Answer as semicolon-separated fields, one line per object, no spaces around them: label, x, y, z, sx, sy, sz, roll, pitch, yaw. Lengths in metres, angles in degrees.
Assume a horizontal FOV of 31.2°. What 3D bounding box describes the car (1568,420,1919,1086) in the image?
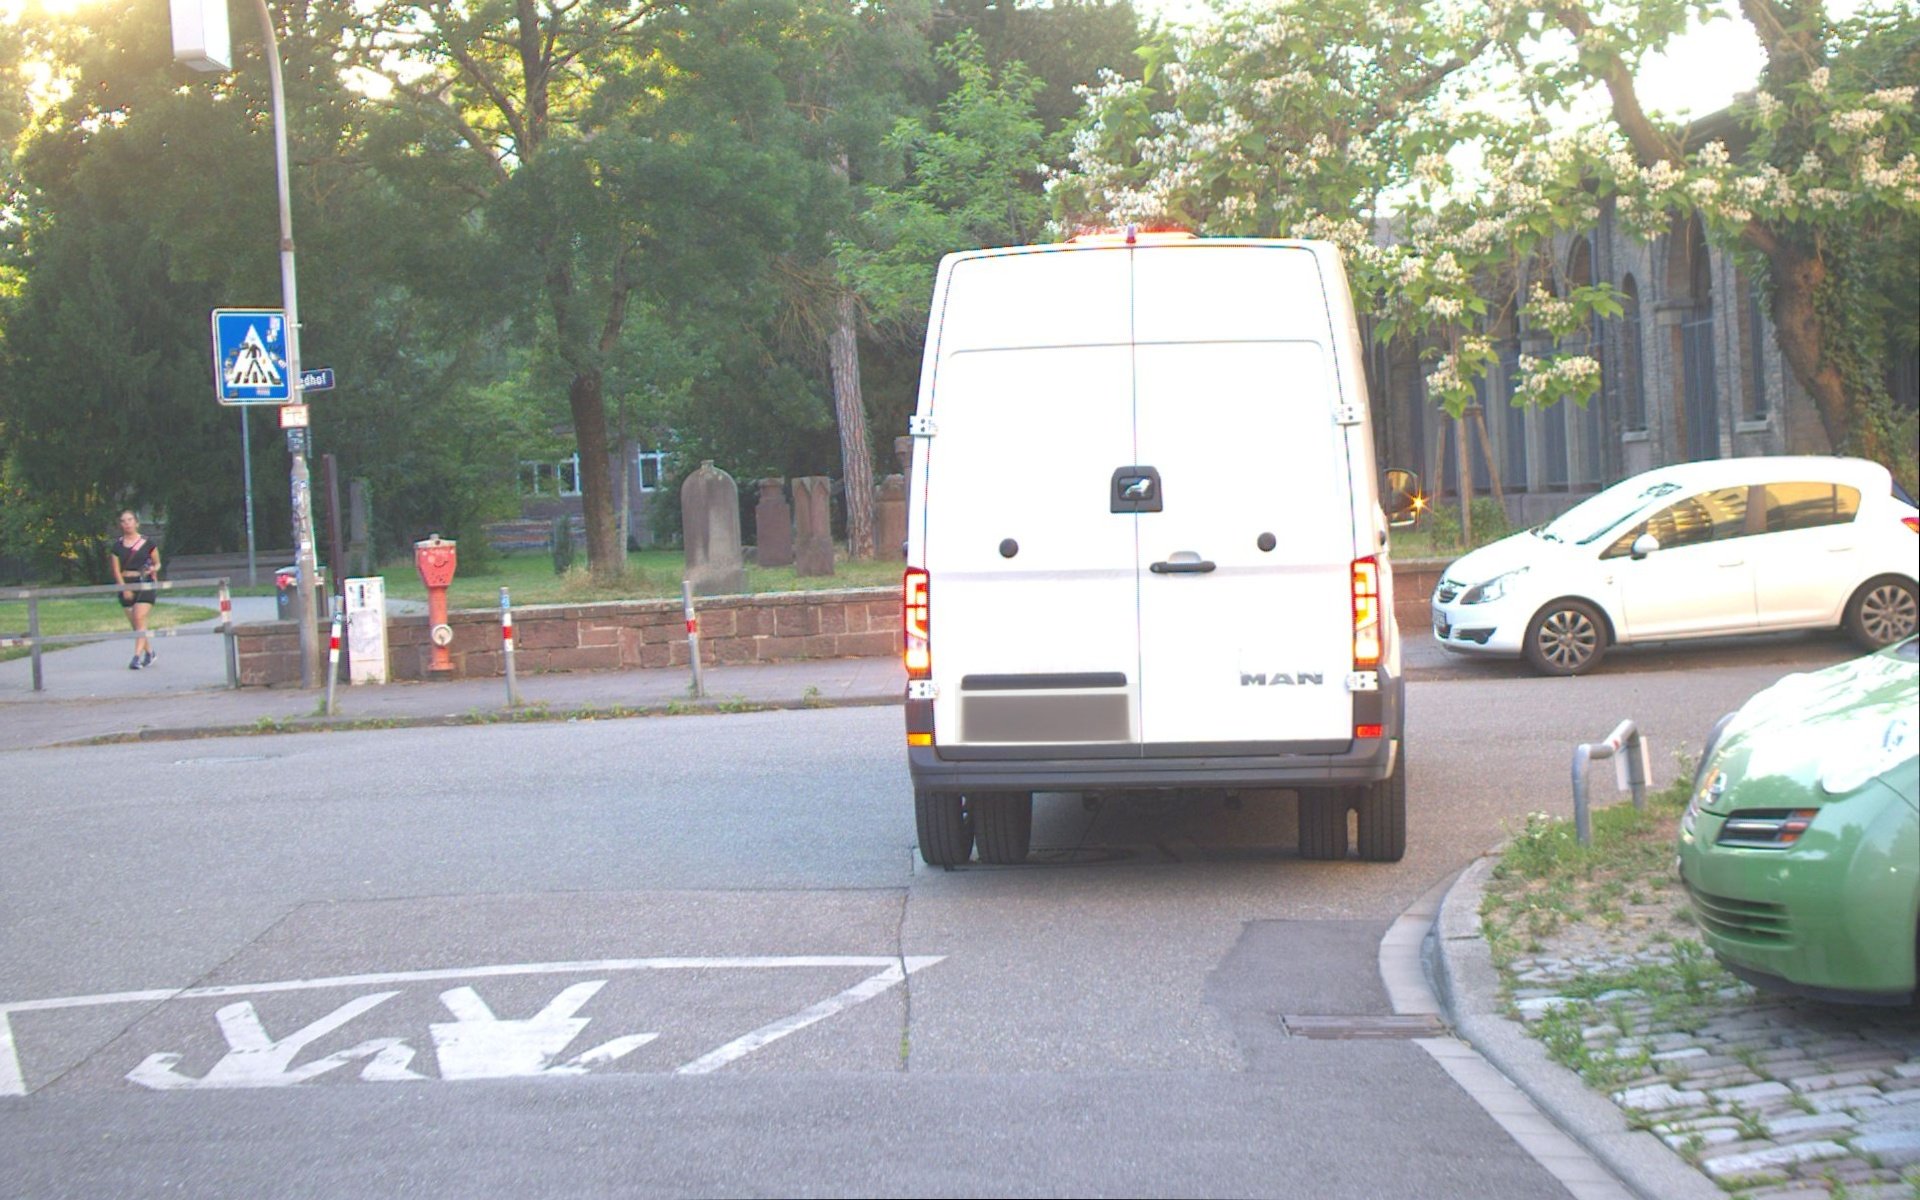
car;4.135;0.253;9.571;4.403;1.626;1.846;-4;0;-3

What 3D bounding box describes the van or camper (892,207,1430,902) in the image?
van or camper;1.151;-0.259;16.353;1.994;2.609;6.401;2;2;7

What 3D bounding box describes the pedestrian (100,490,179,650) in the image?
pedestrian;-8.522;-0.320;35.725;0.646;1.643;0.674;-1;2;-1

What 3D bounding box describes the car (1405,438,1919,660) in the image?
car;5.644;-0.424;27.297;3.854;1.568;1.958;-2;2;-3
